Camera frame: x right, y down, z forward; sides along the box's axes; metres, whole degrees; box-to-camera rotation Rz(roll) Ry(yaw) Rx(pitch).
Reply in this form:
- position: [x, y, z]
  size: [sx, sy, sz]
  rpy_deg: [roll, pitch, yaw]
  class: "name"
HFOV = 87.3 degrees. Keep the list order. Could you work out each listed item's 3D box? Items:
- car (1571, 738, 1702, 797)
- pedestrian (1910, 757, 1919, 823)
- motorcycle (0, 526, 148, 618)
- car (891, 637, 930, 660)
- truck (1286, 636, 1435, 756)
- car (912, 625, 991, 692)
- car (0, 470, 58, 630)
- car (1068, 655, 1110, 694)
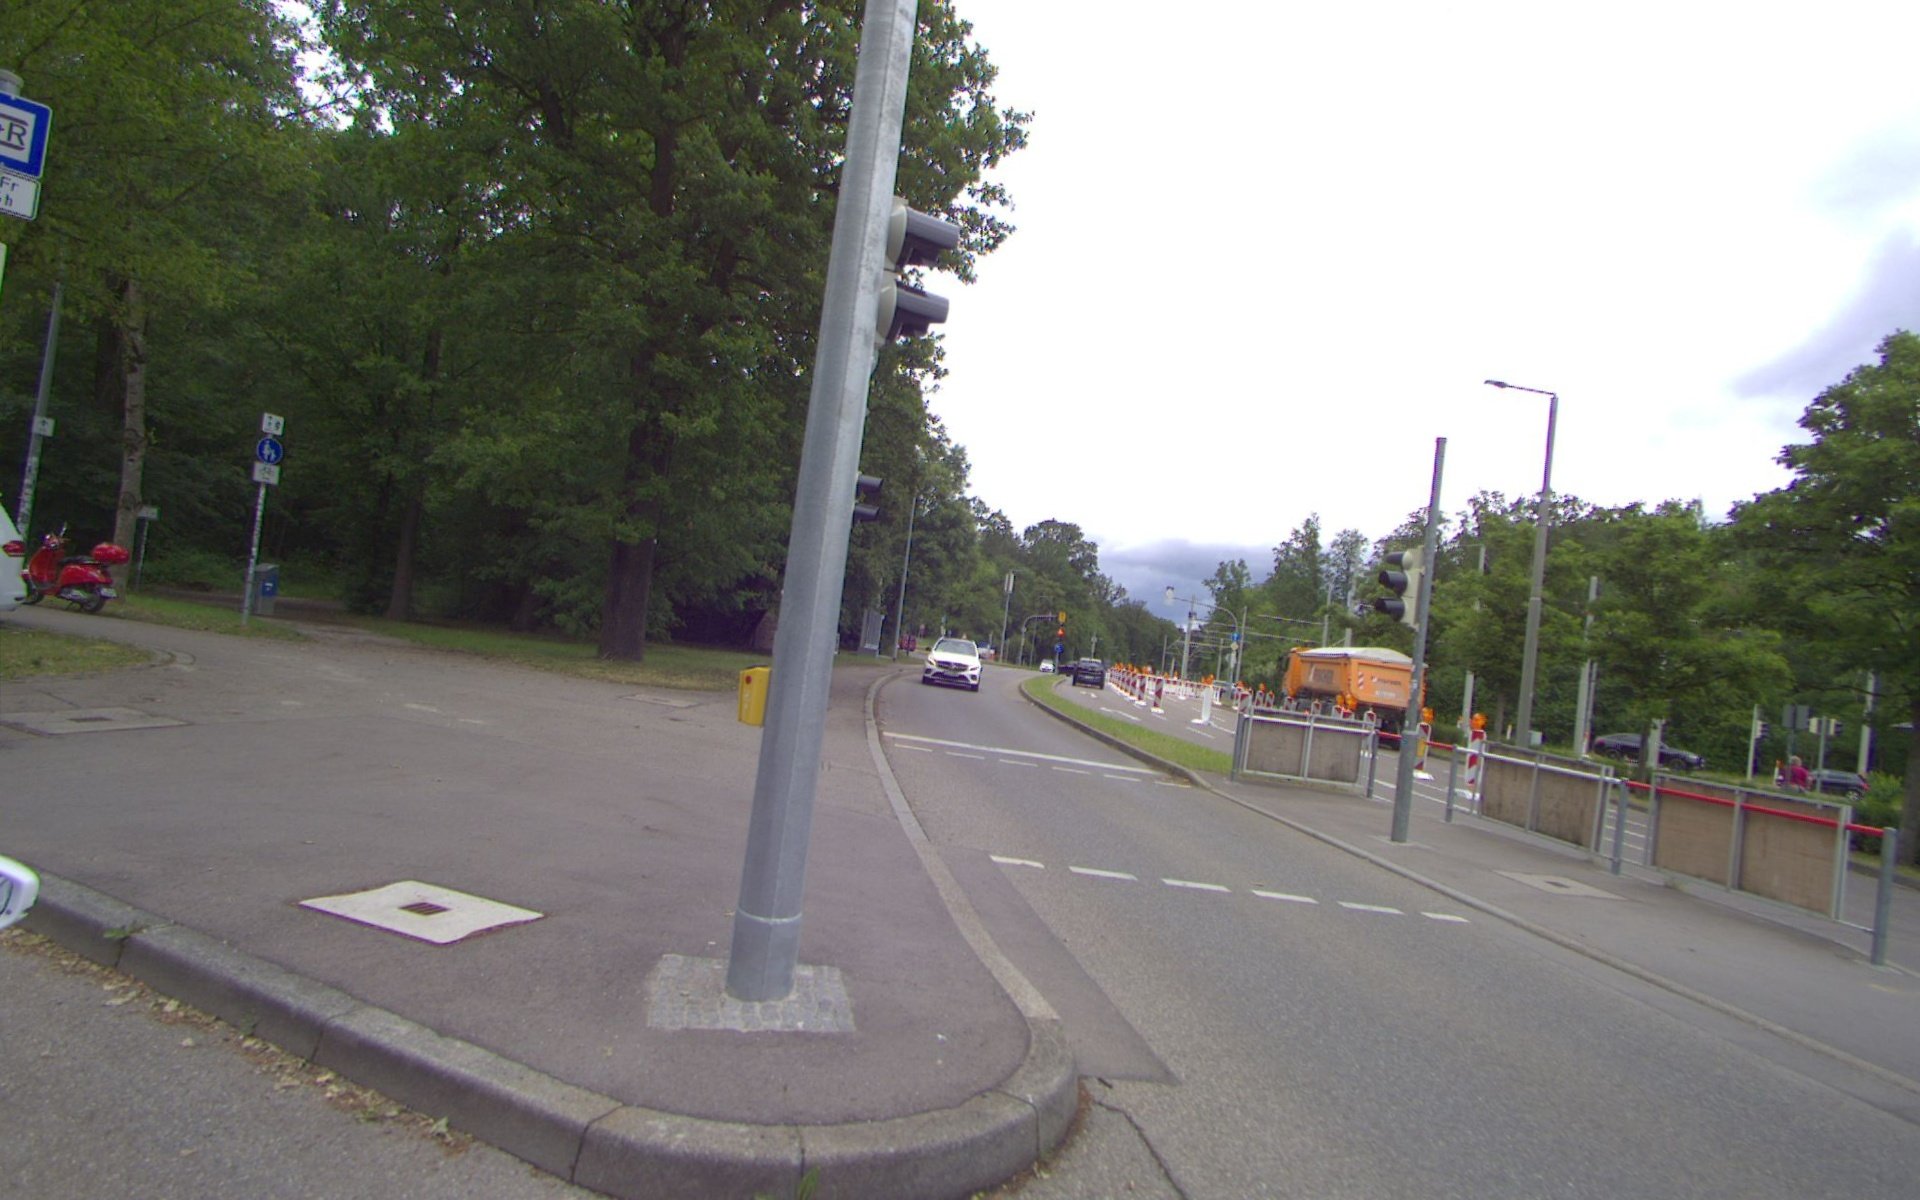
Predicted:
- position: [35.862, 8.850, 53.445]
  size: [1.991, 2.035, 5.367]
  rpy_deg: [12, -4, -44]
  class: "car"
- position: [34.455, 6.795, 35.598]
  size: [0.610, 2.319, 0.857]
  rpy_deg: [10, -2, -27]
  class: "pedestrian"
- position: [-14.336, -0.438, 16.188]
  size: [1.974, 1.174, 0.677]
  rpy_deg: [8, -1, 7]
  class: "motorcycle"
- position: [-5.483, 5.349, 112.068]
  size: [1.991, 1.902, 3.949]
  rpy_deg: [12, -4, -45]
  class: "car"
- position: [14.420, 3.352, 37.052]
  size: [2.814, 3.555, 8.257]
  rpy_deg: [7, -2, 8]
  class: "truck"
- position: [-0.204, 1.994, 33.806]
  size: [1.963, 1.768, 4.587]
  rpy_deg: [9, -3, 6]
  class: "car"
- position: [-11.995, -0.777, 9.555]
  size: [2.125, 1.713, 4.538]
  rpy_deg: [6, -2, 19]
  class: "car"
- position: [7.197, 4.143, 55.817]
  size: [1.962, 1.735, 4.008]
  rpy_deg: [9, -3, 9]
  class: "car"
